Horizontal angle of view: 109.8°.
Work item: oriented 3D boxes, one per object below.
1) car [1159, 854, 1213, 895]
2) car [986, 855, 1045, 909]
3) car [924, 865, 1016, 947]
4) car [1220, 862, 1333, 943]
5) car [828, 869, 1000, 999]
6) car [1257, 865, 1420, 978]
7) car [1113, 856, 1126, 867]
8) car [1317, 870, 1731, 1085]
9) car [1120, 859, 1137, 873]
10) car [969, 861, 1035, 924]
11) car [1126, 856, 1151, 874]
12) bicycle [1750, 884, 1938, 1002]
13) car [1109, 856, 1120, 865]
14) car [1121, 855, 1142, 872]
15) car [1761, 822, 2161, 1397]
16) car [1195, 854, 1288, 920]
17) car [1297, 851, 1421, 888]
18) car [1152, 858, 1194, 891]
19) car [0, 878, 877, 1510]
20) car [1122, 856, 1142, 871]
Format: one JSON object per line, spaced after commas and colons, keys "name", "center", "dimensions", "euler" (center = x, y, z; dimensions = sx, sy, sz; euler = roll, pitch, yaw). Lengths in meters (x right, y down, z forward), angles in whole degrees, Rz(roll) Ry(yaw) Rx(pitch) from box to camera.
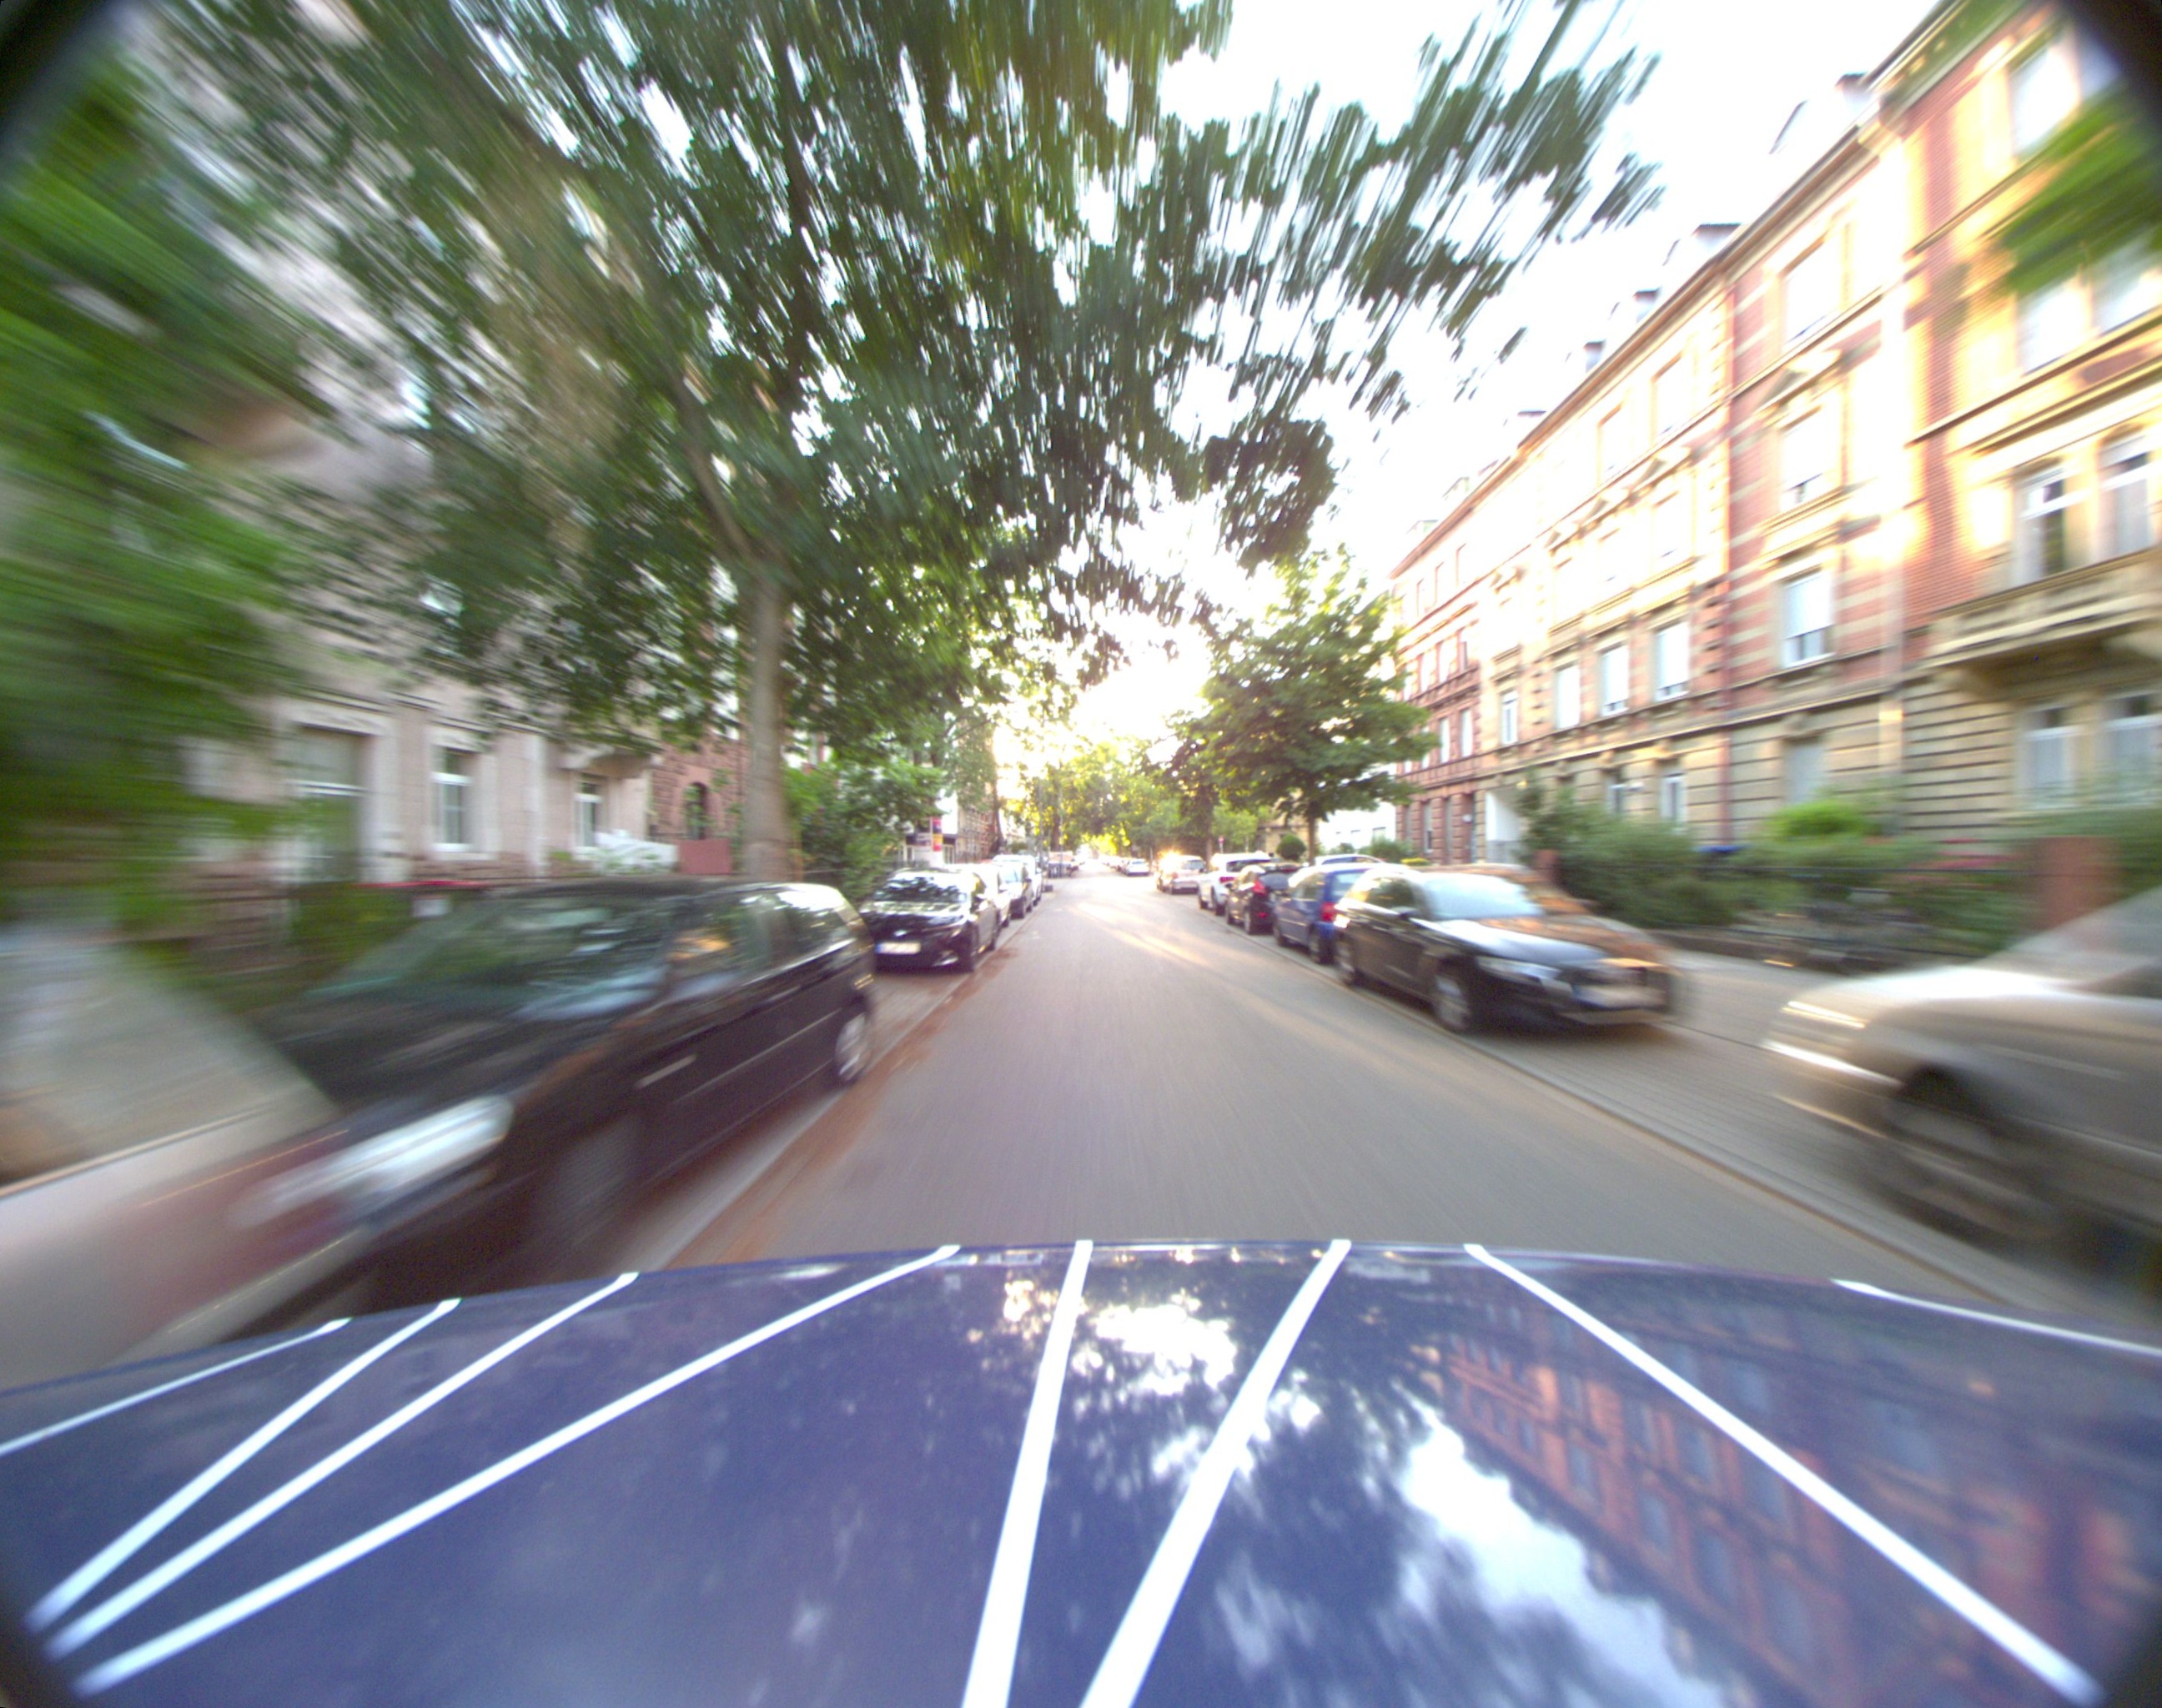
{"name": "car", "center": [4.552, 0.859, 33.387], "dimensions": [1.677, 1.627, 3.940], "euler": [-2, 0, -2]}
{"name": "car", "center": [-2.233, 0.915, 26.906], "dimensions": [1.737, 1.692, 4.168], "euler": [-2, 0, -1]}
{"name": "car", "center": [-2.350, 1.054, 16.887], "dimensions": [1.479, 1.498, 3.928], "euler": [-2, 0, -1]}
{"name": "car", "center": [4.183, 0.981, 16.791], "dimensions": [1.682, 1.489, 3.626], "euler": [-2, 0, 3]}
{"name": "car", "center": [-2.323, 1.046, 11.672], "dimensions": [1.737, 1.498, 4.163], "euler": [-2, 0, -1]}
{"name": "car", "center": [4.008, 0.972, 12.334], "dimensions": [1.441, 1.485, 3.298], "euler": [-2, 0, -1]}
{"name": "car", "center": [5.931, 1.158, 116.490], "dimensions": [1.840, 1.484, 3.641], "euler": [-2, 0, 0]}
{"name": "car", "center": [3.902, 0.955, 7.618], "dimensions": [1.732, 1.433, 4.024], "euler": [-2, 0, -1]}
{"name": "car", "center": [5.658, 1.396, 90.733], "dimensions": [1.840, 1.484, 3.641], "euler": [-2, 0, 0]}
{"name": "car", "center": [-2.132, 1.014, 21.288], "dimensions": [1.502, 1.538, 3.338], "euler": [-2, 0, -1]}
{"name": "car", "center": [5.062, 0.920, 67.062], "dimensions": [1.953, 1.484, 3.738], "euler": [-2, 0, 0]}
{"name": "bicycle", "center": [8.414, 0.936, 8.476], "dimensions": [0.457, 1.103, 1.634], "euler": [-2, 0, 1]}
{"name": "car", "center": [6.440, 1.254, 146.481], "dimensions": [1.840, 1.484, 3.641], "euler": [-2, 0, 0]}
{"name": "car", "center": [4.802, 0.862, 72.706], "dimensions": [1.840, 1.484, 3.641], "euler": [-2, 0, 0]}
{"name": "car", "center": [4.238, 0.767, 1.367], "dimensions": [1.866, 1.769, 4.623], "euler": [-2, 0, 0]}
{"name": "car", "center": [4.495, 0.860, 21.868], "dimensions": [1.866, 1.653, 4.021], "euler": [-2, 0, 2]}
{"name": "car", "center": [11.226, 0.605, 30.858], "dimensions": [4.412, 1.333, 1.626], "euler": [-2, 0, 2]}
{"name": "car", "center": [4.511, 0.955, 37.745], "dimensions": [1.504, 1.484, 3.987], "euler": [-2, 0, -1]}
{"name": "car", "center": [-2.417, 0.978, 3.809], "dimensions": [1.590, 1.516, 3.603], "euler": [-2, 0, 3]}
{"name": "car", "center": [5.235, 0.956, 78.378], "dimensions": [1.840, 1.484, 3.641], "euler": [-2, 0, 0]}
